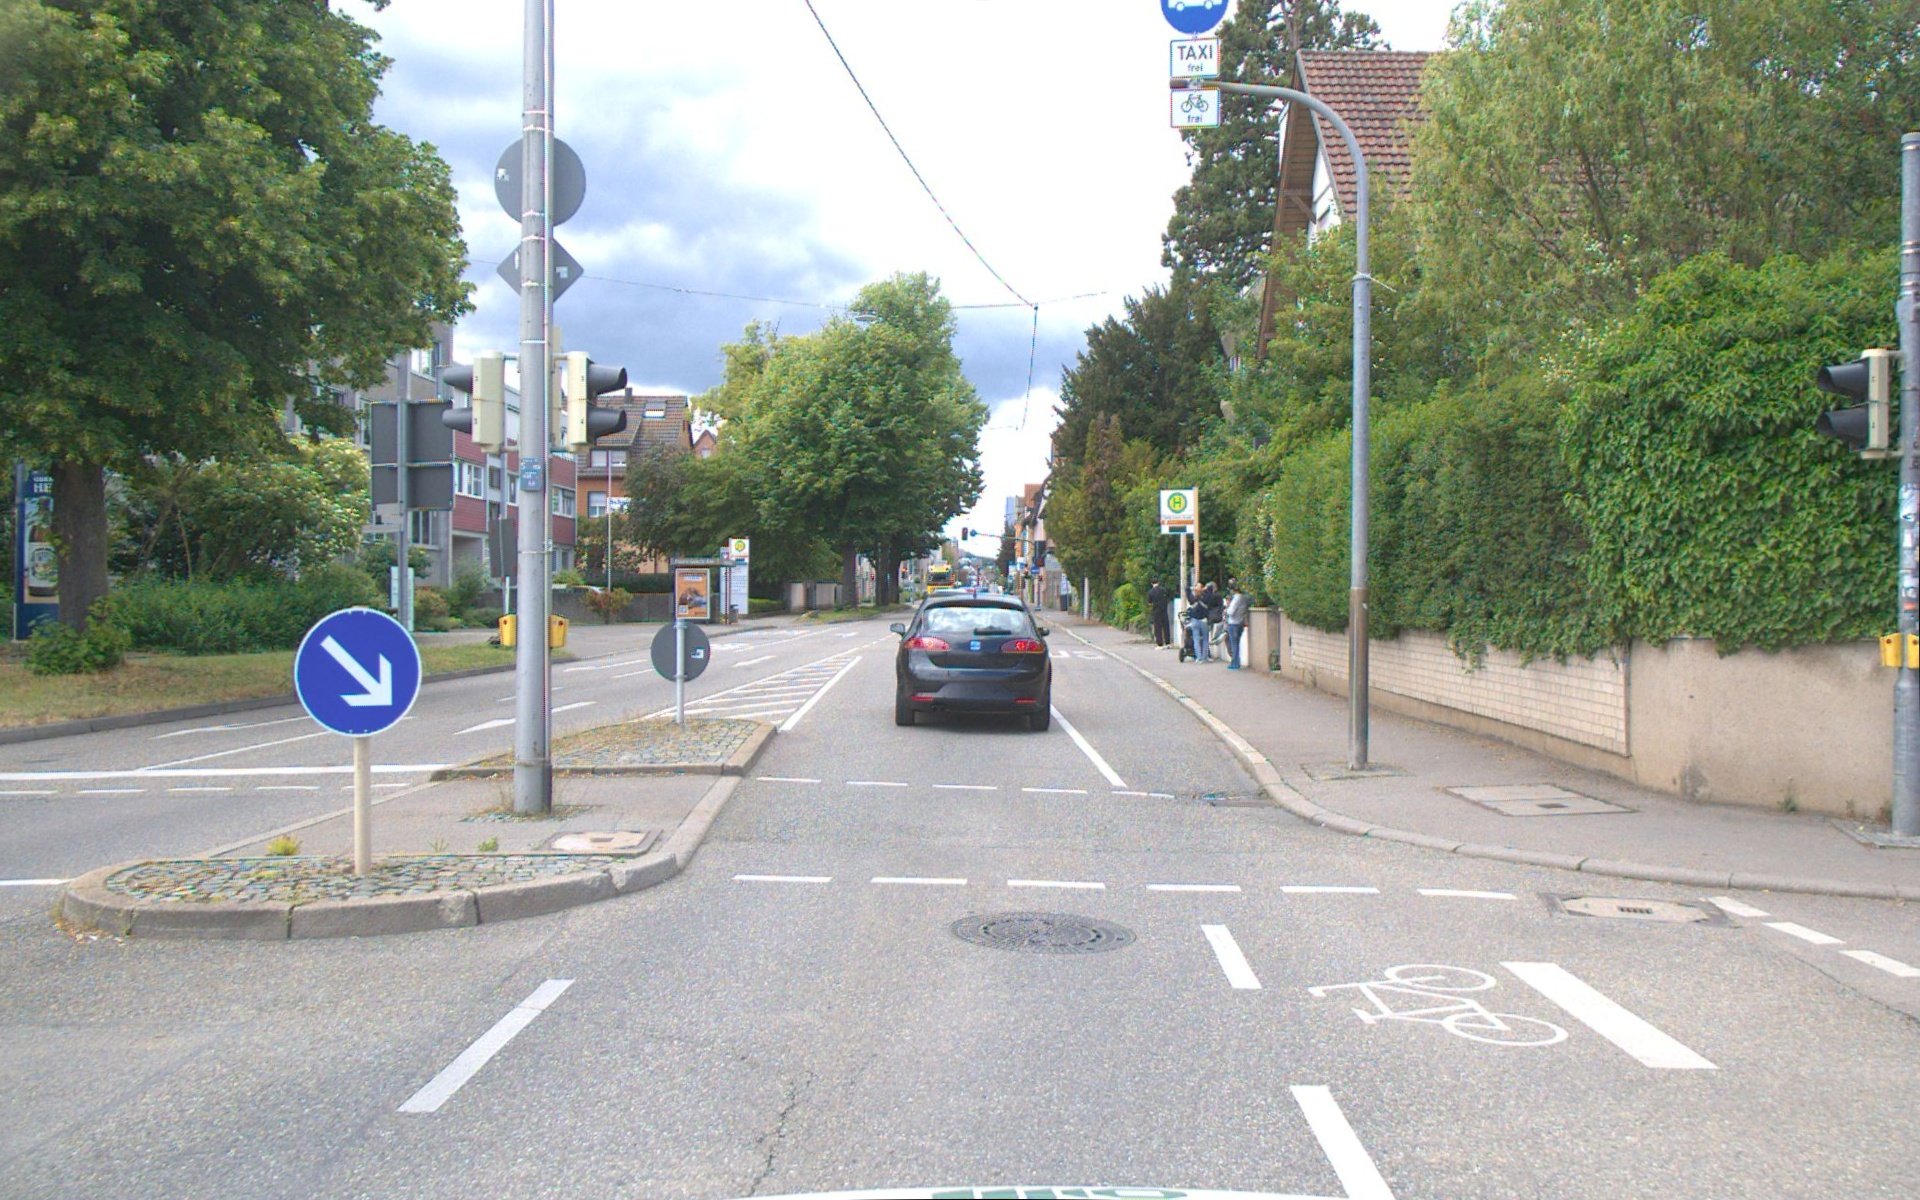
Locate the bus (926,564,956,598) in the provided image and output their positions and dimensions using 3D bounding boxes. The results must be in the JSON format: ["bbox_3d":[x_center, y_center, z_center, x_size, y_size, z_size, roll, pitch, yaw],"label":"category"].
[{"bbox_3d":[-1.796,-1.822,159.259,2.810,3.191,6.397,0,1,0],"label":"bus"}]

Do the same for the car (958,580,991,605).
[{"bbox_3d":[1.040,-0.540,118.676,1.951,1.713,4.003,0,0,6],"label":"car"}]

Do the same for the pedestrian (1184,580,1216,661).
[{"bbox_3d":[4.715,0.395,32.480,0.538,1.543,0.362,-3,1,9],"label":"pedestrian"}]

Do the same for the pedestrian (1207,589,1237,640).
[{"bbox_3d":[5.174,0.280,32.630,0.445,0.981,0.383,-4,1,-6],"label":"pedestrian"}]

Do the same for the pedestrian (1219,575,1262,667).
[{"bbox_3d":[4.990,0.372,29.443,0.533,1.582,0.470,-4,1,-8],"label":"pedestrian"}]

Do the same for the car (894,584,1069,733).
[{"bbox_3d":[0.155,0.596,19.033,1.724,1.474,3.712,2,1,-3],"label":"car"}]

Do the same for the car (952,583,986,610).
[{"bbox_3d":[0.534,-0.228,99.556,1.902,1.507,4.252,-1,1,-2],"label":"car"}]

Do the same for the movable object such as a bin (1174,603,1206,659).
[{"bbox_3d":[4.634,0.629,33.366,0.432,1.076,0.568,-3,1,26],"label":"movable object such as a bin"}]

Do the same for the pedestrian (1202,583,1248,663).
[{"bbox_3d":[4.954,0.428,30.894,0.609,1.452,0.510,-3,1,39],"label":"pedestrian"}]

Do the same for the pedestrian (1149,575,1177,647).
[{"bbox_3d":[5.000,0.272,40.770,0.574,1.741,0.529,-2,0,-1],"label":"pedestrian"}]

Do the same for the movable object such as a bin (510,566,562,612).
[{"bbox_3d":[-19.311,-0.495,75.314,1.953,2.049,1.543,0,1,-1],"label":"movable object such as a bin"}]

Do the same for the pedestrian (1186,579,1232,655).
[{"bbox_3d":[5.164,0.345,34.309,0.764,1.526,0.604,-2,0,-5],"label":"pedestrian"}]

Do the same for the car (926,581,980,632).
[{"bbox_3d":[-0.217,0.198,59.357,1.781,1.729,4.254,-1,1,1],"label":"car"}]
